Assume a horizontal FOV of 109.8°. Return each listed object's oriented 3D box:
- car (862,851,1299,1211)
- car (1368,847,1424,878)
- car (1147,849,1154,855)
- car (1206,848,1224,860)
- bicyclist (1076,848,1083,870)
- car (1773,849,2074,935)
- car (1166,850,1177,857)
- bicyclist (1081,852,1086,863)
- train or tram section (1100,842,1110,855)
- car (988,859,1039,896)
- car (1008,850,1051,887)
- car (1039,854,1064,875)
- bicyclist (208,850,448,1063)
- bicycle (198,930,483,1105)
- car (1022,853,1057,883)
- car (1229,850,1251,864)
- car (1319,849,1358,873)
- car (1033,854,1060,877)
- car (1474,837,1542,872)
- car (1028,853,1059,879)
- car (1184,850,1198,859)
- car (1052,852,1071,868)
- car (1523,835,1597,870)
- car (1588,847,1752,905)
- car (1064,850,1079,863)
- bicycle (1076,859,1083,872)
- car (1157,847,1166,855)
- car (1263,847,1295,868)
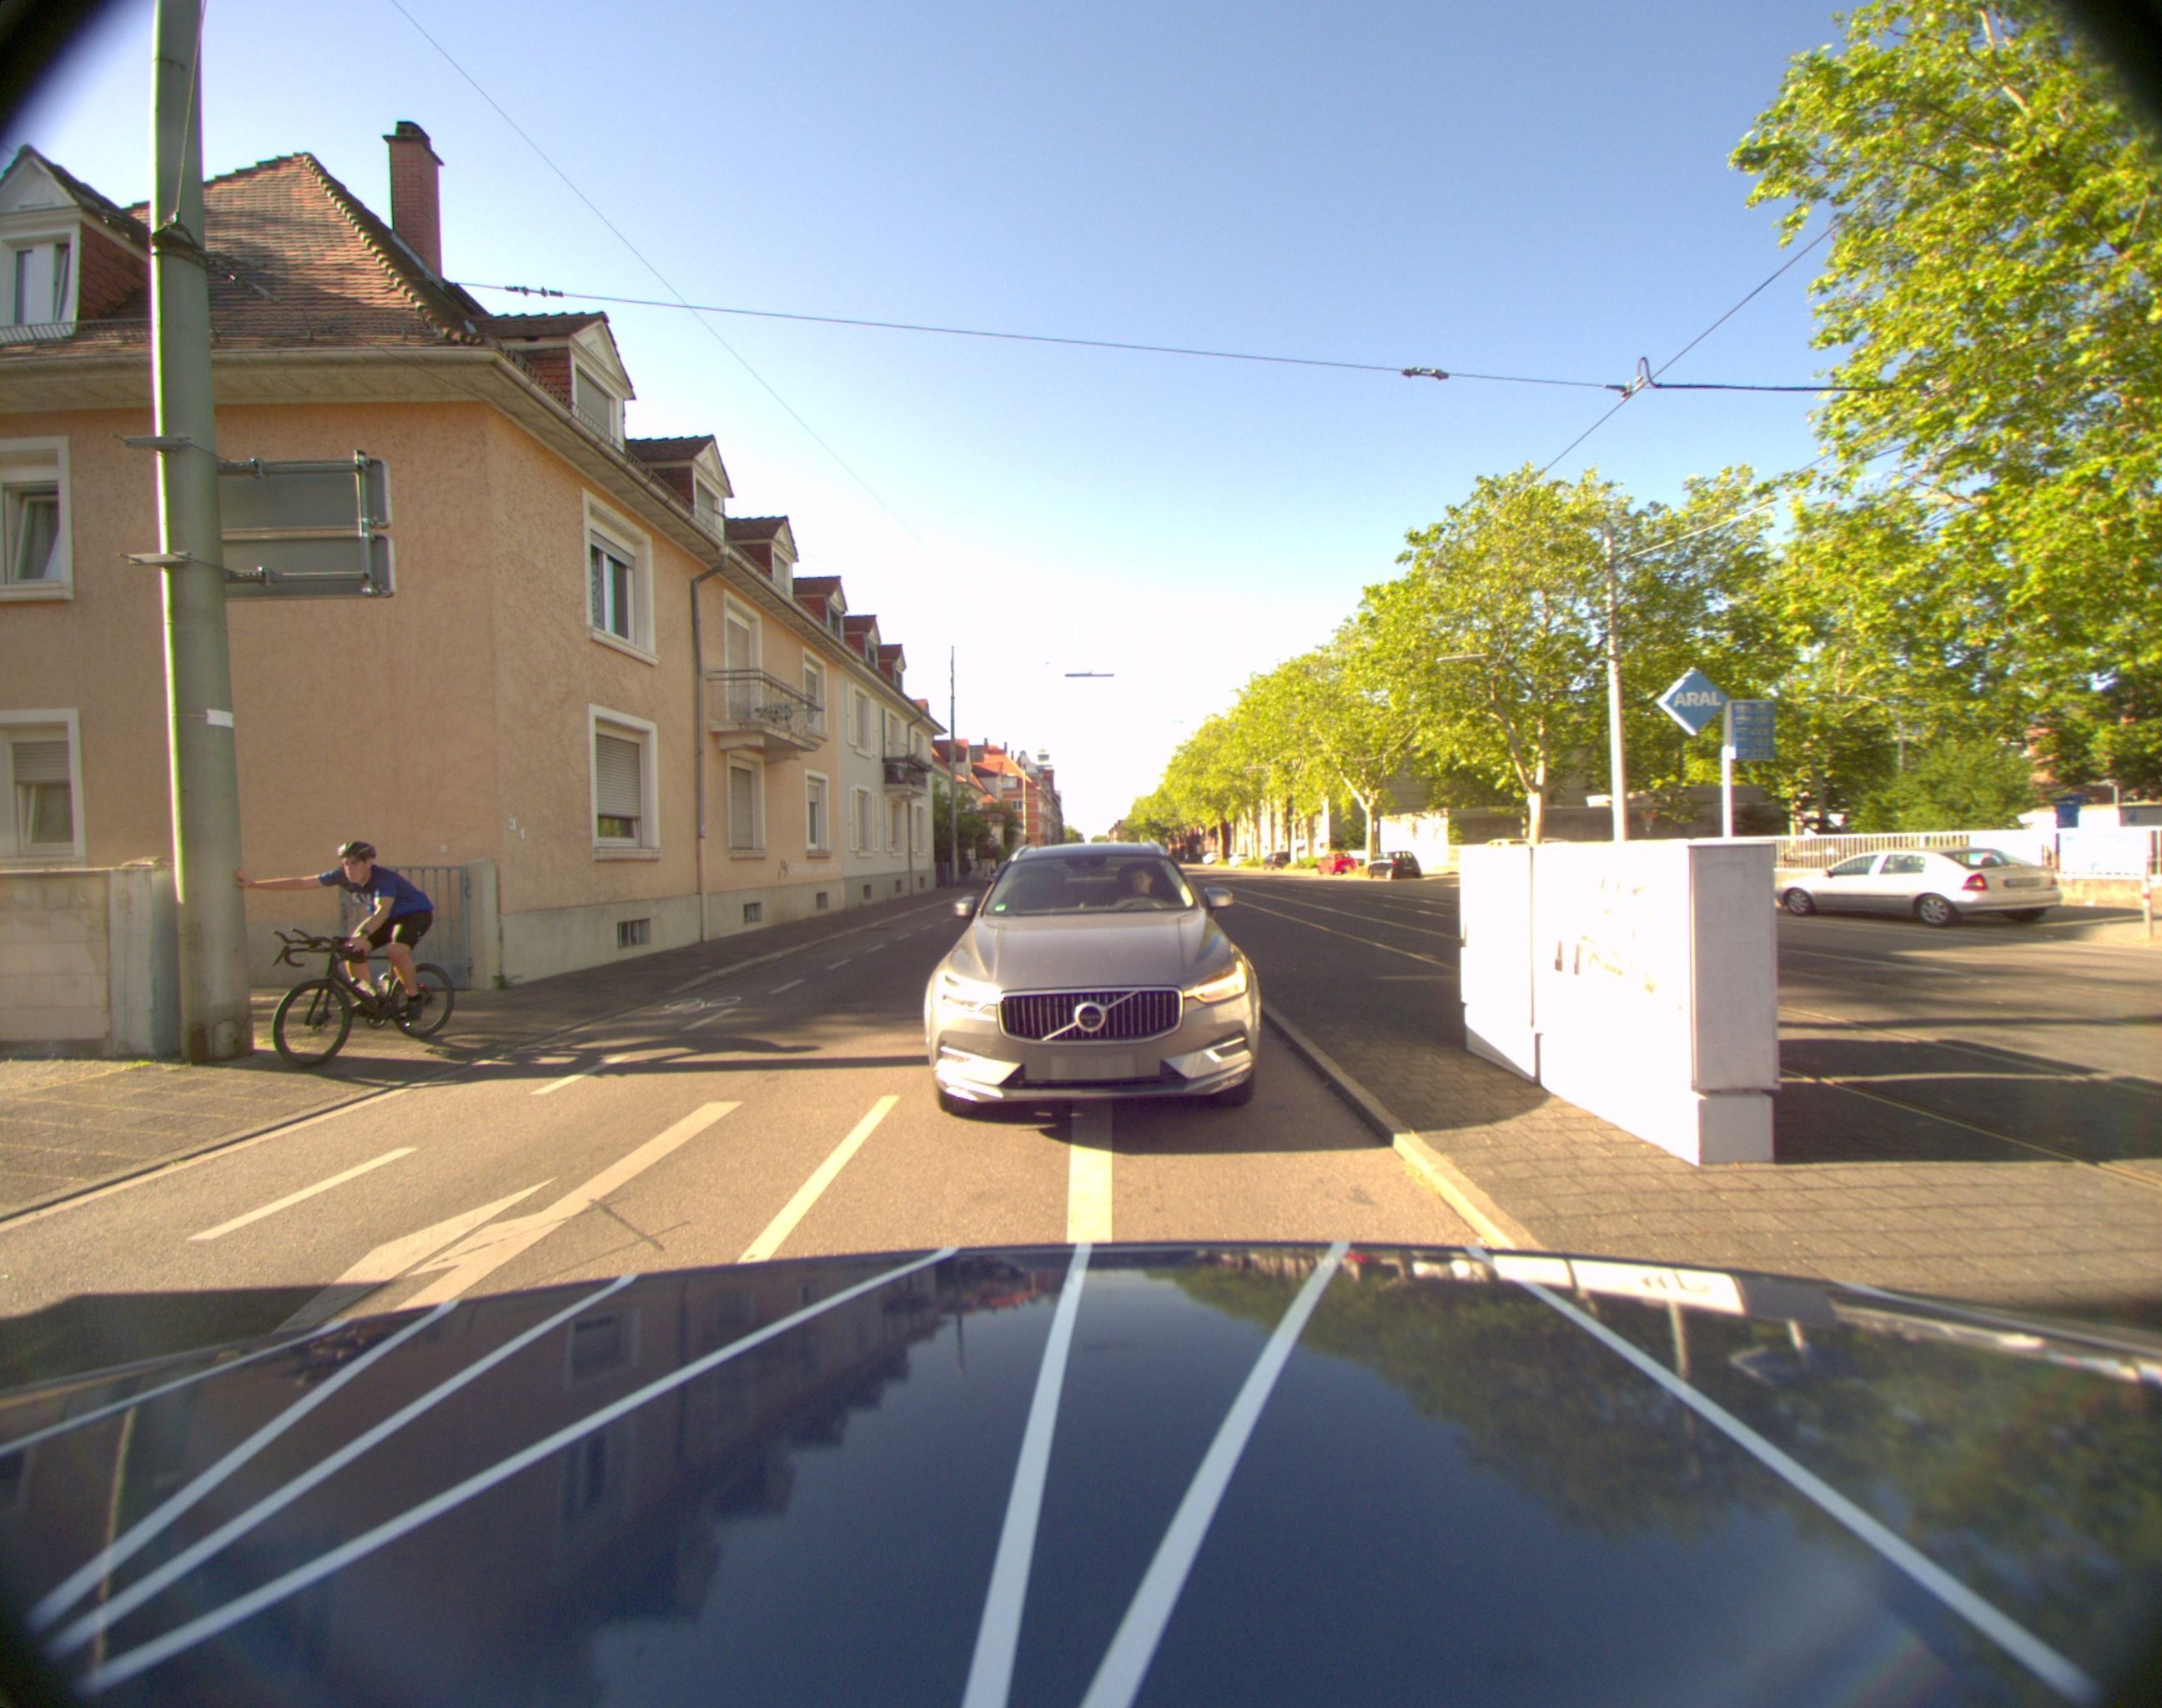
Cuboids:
[{"bbox_3d":[0.026,0.833,5.745,1.998,1.628,4.306,-2,0,1],"label":"car"},{"bbox_3d":[16.879,0.435,40.889,1.599,1.498,3.304,-3,0,1],"label":"car"},{"bbox_3d":[19.640,-0.598,214.801,1.695,1.775,3.749,-3,0,1],"label":"car"},{"bbox_3d":[17.783,0.040,100.707,1.695,1.440,3.749,-3,0,1],"label":"car"},{"bbox_3d":[-0.152,0.454,67.316,0.519,1.922,0.946,-1,-2,3],"label":"bicyclist"},{"bbox_3d":[16.221,0.646,14.974,1.695,1.395,3.813,-3,0,1],"label":"car"},{"bbox_3d":[19.255,-0.175,161.870,1.695,1.440,3.749,-3,0,1],"label":"car"},{"bbox_3d":[0.339,0.564,114.621,0.685,1.611,0.855,-2,1,1],"label":"bicyclist"},{"bbox_3d":[6.822,-1.653,217.720,2.717,3.643,12.653,-1,0,0],"label":"train or tram section"},{"bbox_3d":[-3.229,1.093,37.039,1.695,1.571,3.815,-3,0,5],"label":"car"},{"bbox_3d":[-2.831,0.751,42.812,1.793,1.828,5.149,-3,0,2],"label":"car"},{"bbox_3d":[-2.559,0.871,67.067,1.793,1.673,3.814,-3,0,2],"label":"car"},{"bbox_3d":[-6.253,0.803,6.375,1.051,1.599,0.885,4,0,1],"label":"bicyclist"},{"bbox_3d":[-6.052,1.270,6.378,0.592,1.062,1.775,4,0,1],"label":"bicycle"},{"bbox_3d":[-2.592,0.864,48.477,1.793,1.673,3.814,-3,0,2],"label":"car"},{"bbox_3d":[17.454,0.305,83.536,1.695,1.440,3.749,-3,0,1],"label":"car"},{"bbox_3d":[16.870,0.444,49.860,1.599,1.498,2.622,-3,0,1],"label":"car"},{"bbox_3d":[-2.727,0.897,61.022,1.793,1.673,3.814,-3,0,2],"label":"car"},{"bbox_3d":[21.540,0.022,38.466,1.599,1.606,3.304,-2,0,1],"label":"car"},{"bbox_3d":[-2.639,0.846,53.997,1.793,1.673,3.814,-3,0,2],"label":"car"},{"bbox_3d":[18.188,0.088,125.516,1.695,1.440,3.749,-3,0,1],"label":"car"},{"bbox_3d":[-2.160,0.649,85.361,1.793,1.673,3.814,-3,0,2],"label":"car"},{"bbox_3d":[23.873,-0.074,38.019,1.599,1.583,3.304,-2,0,1],"label":"car"},{"bbox_3d":[16.406,0.566,21.409,1.695,1.395,3.749,-3,0,1],"label":"car"},{"bbox_3d":[-1.303,0.381,107.094,1.793,1.673,3.814,-3,0,2],"label":"car"},{"bbox_3d":[-0.134,1.006,67.381,0.519,1.084,1.797,-1,-2,3],"label":"bicycle"},{"bbox_3d":[20.225,-0.705,191.407,1.695,1.775,3.749,-3,0,1],"label":"car"},{"bbox_3d":[17.130,0.284,65.882,1.695,1.648,3.749,-3,0,1],"label":"car"}]
